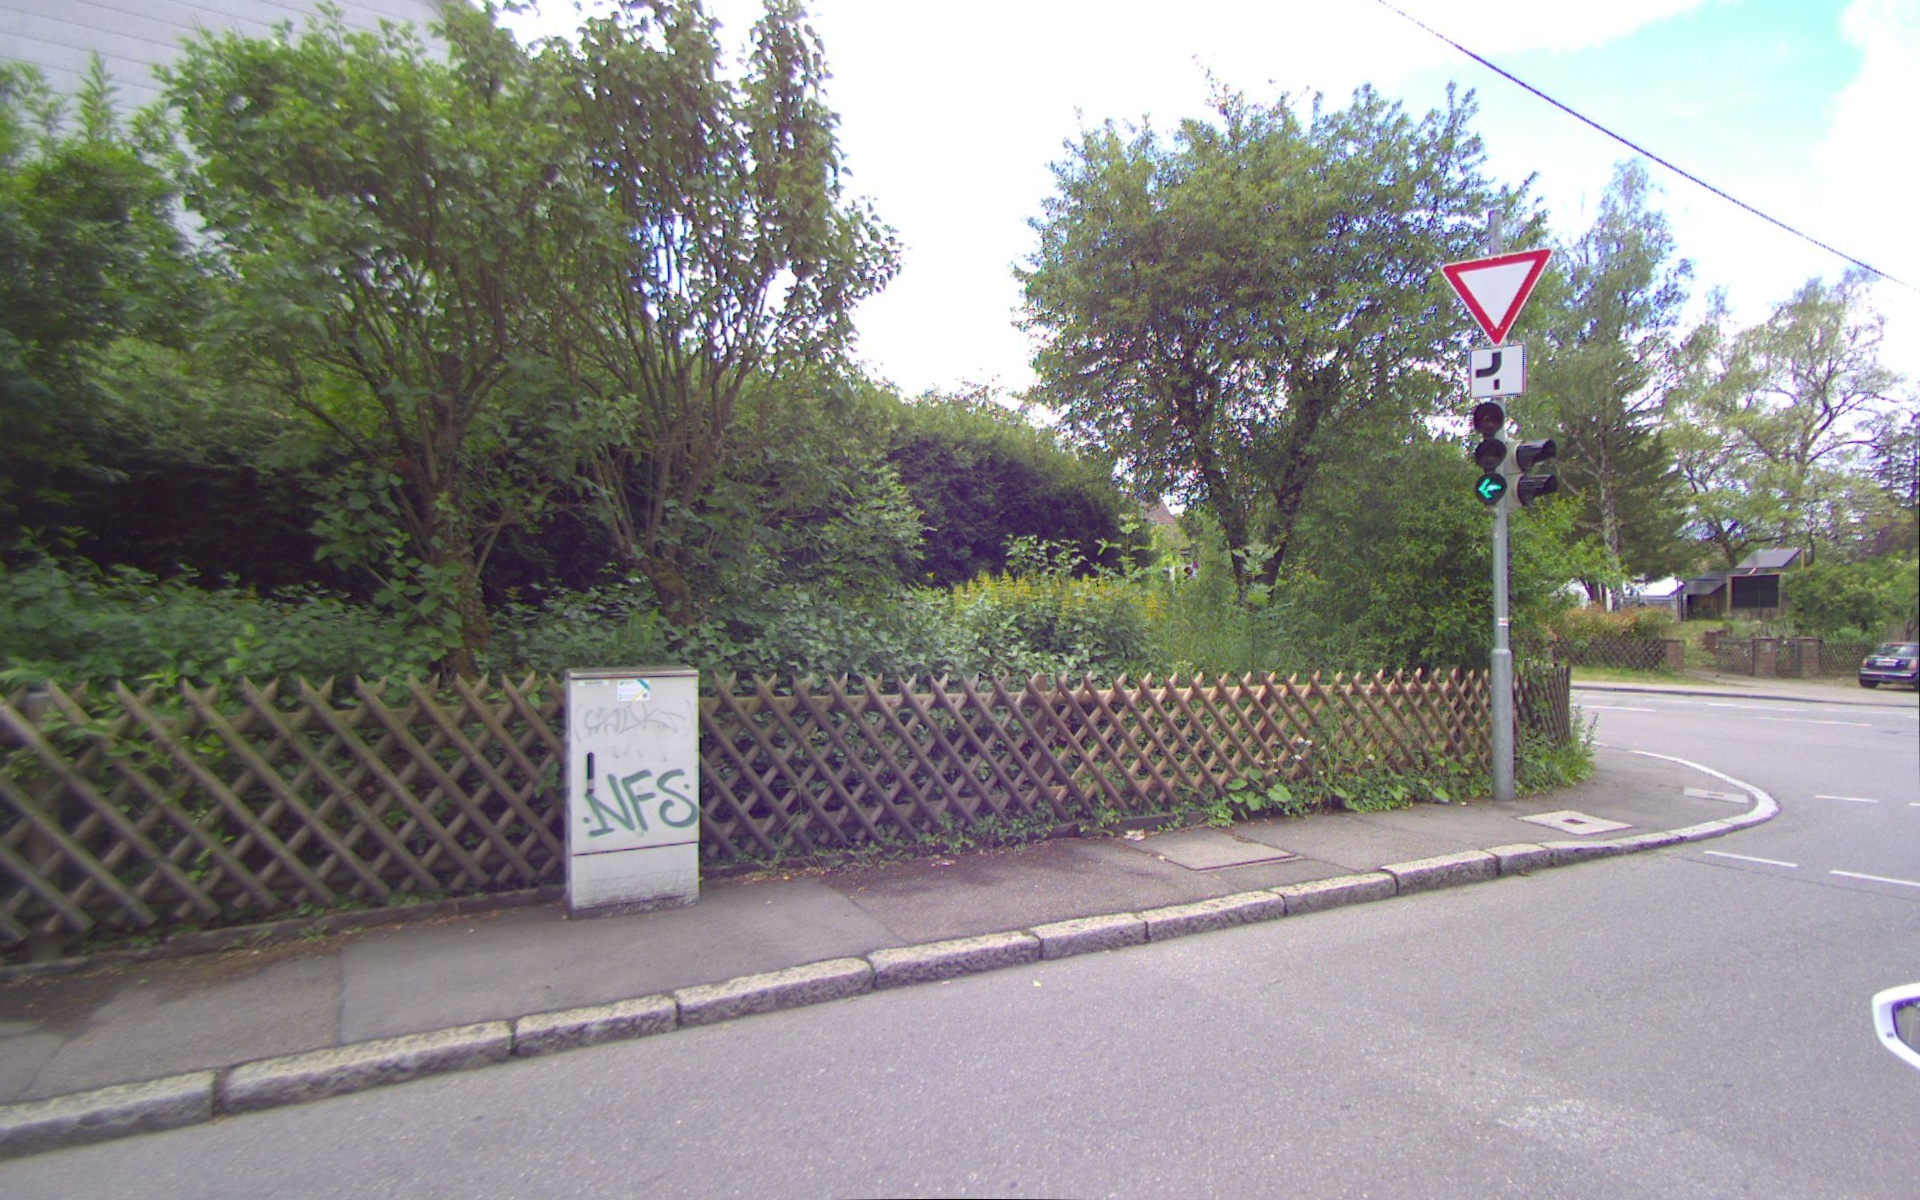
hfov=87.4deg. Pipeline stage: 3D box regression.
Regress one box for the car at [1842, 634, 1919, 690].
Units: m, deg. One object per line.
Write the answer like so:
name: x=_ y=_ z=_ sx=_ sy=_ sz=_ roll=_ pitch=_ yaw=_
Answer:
car: x=28.121 y=1.834 z=29.324 sx=3.479 sy=1.468 sz=1.700 roll=2 pitch=1 yaw=-10
